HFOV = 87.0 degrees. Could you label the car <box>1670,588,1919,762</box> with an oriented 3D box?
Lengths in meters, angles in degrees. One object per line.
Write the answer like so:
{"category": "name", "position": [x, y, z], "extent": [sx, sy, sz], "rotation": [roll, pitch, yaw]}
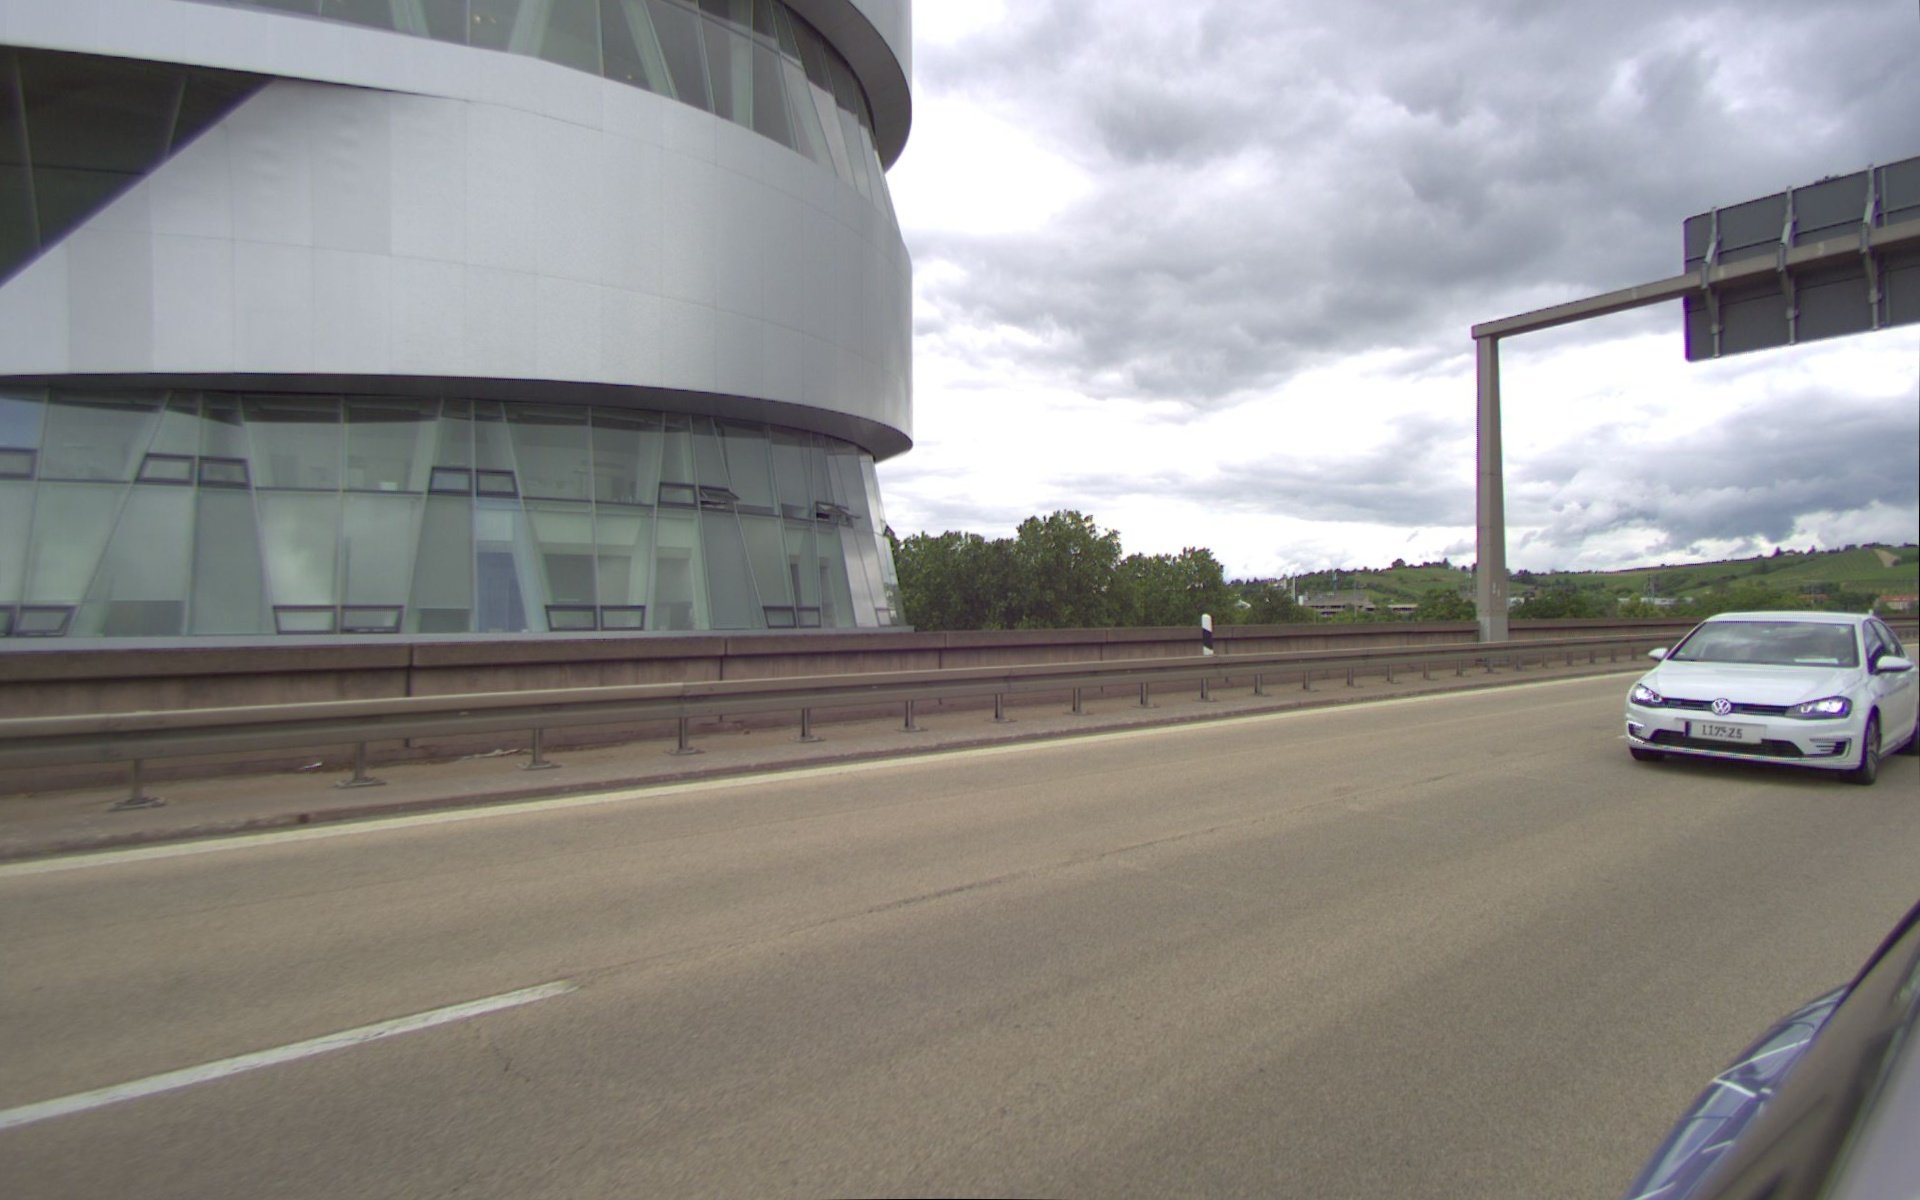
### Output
{"category": "car", "position": [9.468, 0.648, 11.011], "extent": [3.990, 1.527, 1.929], "rotation": [-1, 1, -40]}
